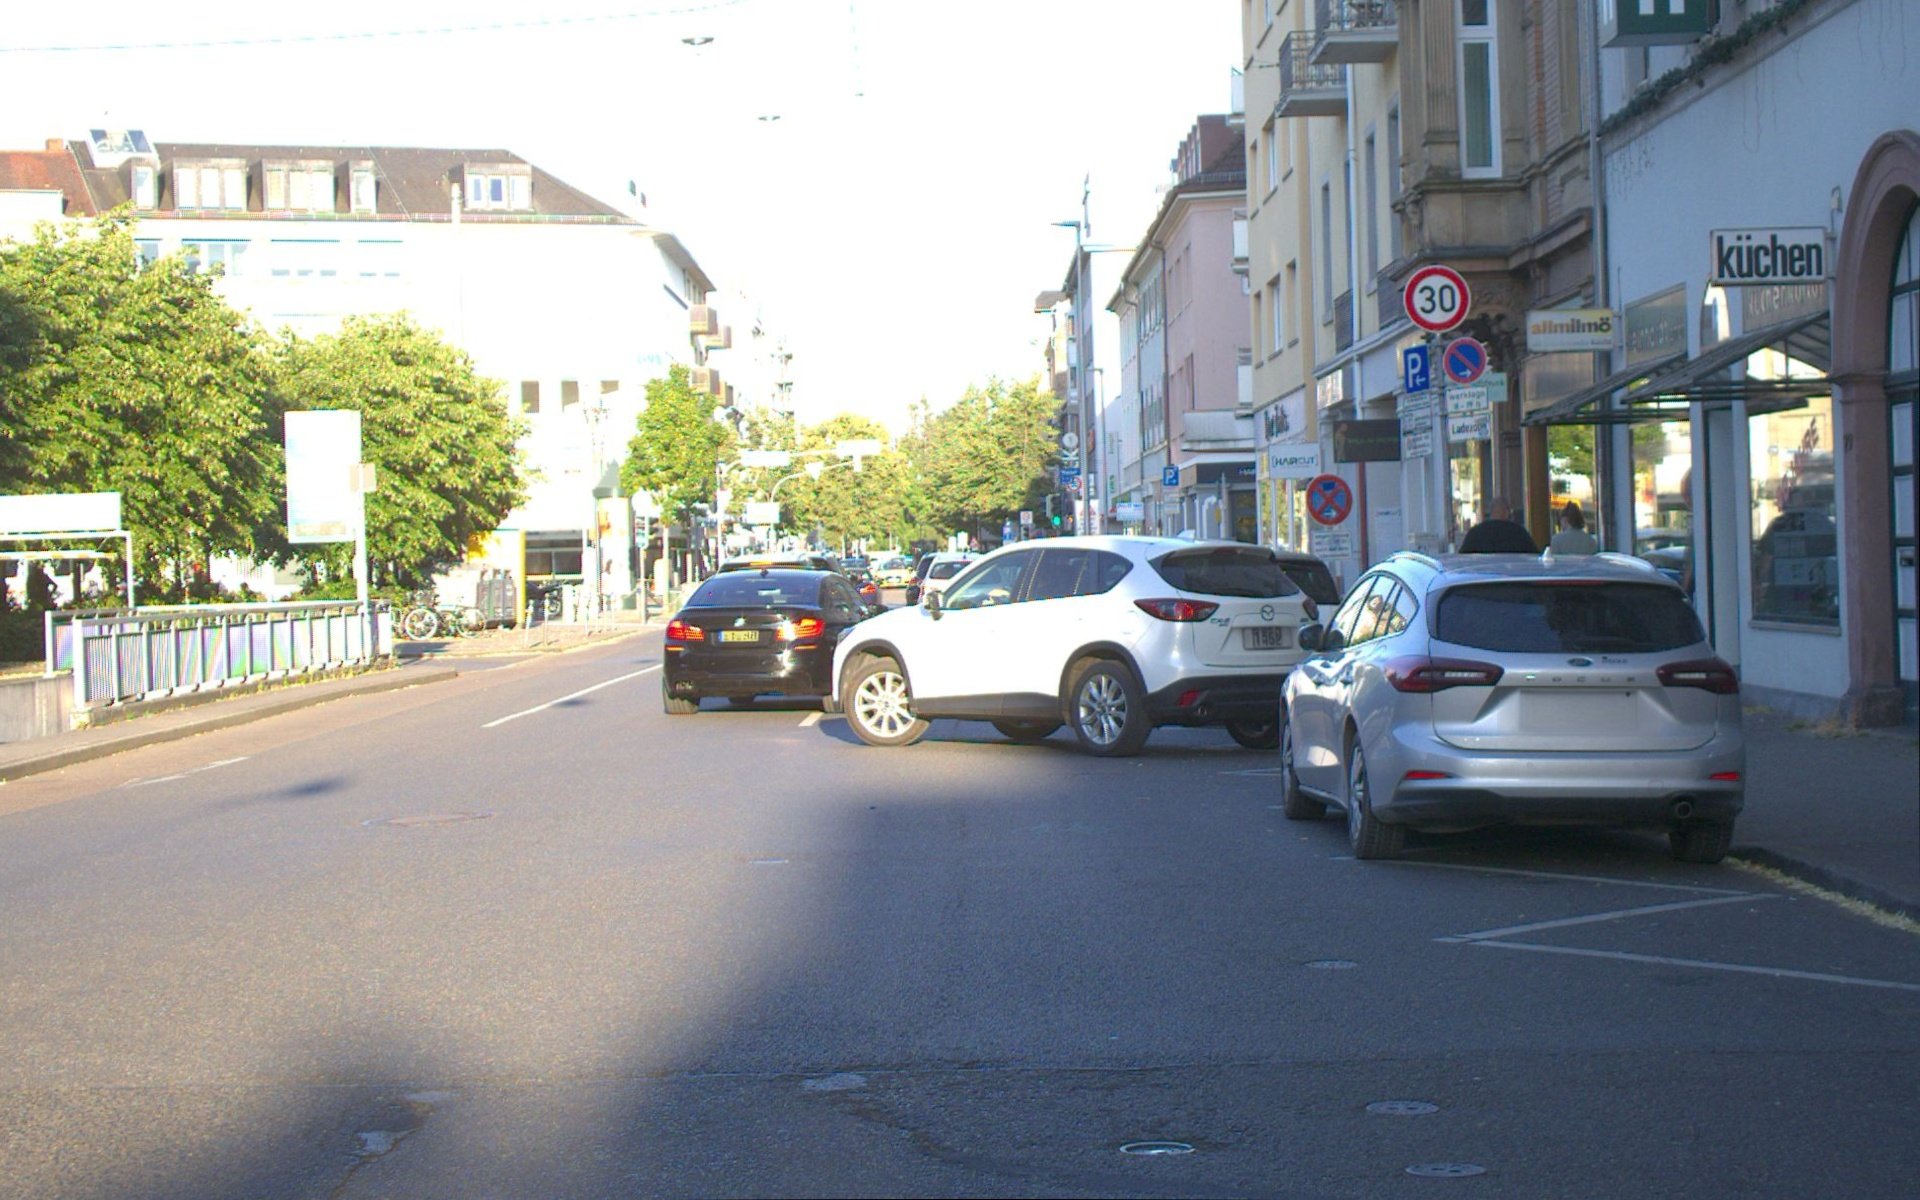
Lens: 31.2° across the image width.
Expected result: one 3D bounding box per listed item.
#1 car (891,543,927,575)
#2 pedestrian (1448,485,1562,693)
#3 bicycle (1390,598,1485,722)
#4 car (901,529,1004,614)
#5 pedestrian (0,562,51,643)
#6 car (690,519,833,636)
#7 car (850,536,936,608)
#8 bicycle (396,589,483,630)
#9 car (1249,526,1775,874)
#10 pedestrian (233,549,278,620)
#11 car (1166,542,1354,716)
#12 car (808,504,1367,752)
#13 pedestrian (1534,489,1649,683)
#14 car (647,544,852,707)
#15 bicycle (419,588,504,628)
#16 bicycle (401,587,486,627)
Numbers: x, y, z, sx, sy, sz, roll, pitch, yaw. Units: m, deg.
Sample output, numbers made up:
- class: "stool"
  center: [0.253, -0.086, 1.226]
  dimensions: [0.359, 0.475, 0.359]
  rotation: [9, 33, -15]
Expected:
- class: "car"
  center: [-2.560, -2.082, 173.781]
  dimensions: [1.779, 1.542, 4.000]
  rotation: [-1, 1, -1]
- class: "pedestrian"
  center: [4.946, -0.110, 31.237]
  dimensions: [0.772, 1.821, 1.011]
  rotation: [-3, 1, 0]
- class: "bicycle"
  center: [4.197, 0.508, 30.306]
  dimensions: [0.504, 1.012, 1.947]
  rotation: [-2, 1, -1]
- class: "car"
  center: [-0.160, -0.559, 65.785]
  dimensions: [1.896, 1.575, 4.000]
  rotation: [0, 1, -1]
- class: "pedestrian"
  center: [-18.625, 0.053, 68.526]
  dimensions: [0.791, 1.589, 0.567]
  rotation: [0, 1, 20]
- class: "car"
  center: [-2.917, -0.356, 51.246]
  dimensions: [1.896, 1.644, 4.104]
  rotation: [-1, 1, -1]
- class: "car"
  center: [-1.514, -0.668, 79.102]
  dimensions: [1.896, 1.575, 3.852]
  rotation: [1, 1, -1]
- class: "bicycle"
  center: [-11.273, 0.204, 74.480]
  dimensions: [1.825, 0.850, 0.484]
  rotation: [1, 1, -3]
- class: "car"
  center: [2.654, 0.429, 17.661]
  dimensions: [1.759, 1.531, 4.822]
  rotation: [0, 0, -2]
- class: "pedestrian"
  center: [-15.964, -0.355, 77.917]
  dimensions: [0.791, 1.589, 0.567]
  rotation: [0, 1, 20]
- class: "car"
  center: [2.749, 0.246, 32.033]
  dimensions: [1.532, 1.531, 3.283]
  rotation: [0, 0, 1]
- class: "car"
  center: [0.913, 0.196, 27.193]
  dimensions: [1.994, 1.755, 4.464]
  rotation: [-2, 1, -37]
- class: "pedestrian"
  center: [5.754, -0.136, 31.373]
  dimensions: [0.772, 1.705, 1.042]
  rotation: [-3, 1, 0]
- class: "car"
  center: [-2.102, 0.217, 35.273]
  dimensions: [1.896, 1.575, 4.000]
  rotation: [0, 1, -1]
- class: "bicycle"
  center: [-11.053, 0.178, 76.281]
  dimensions: [1.825, 0.850, 0.484]
  rotation: [1, 1, -3]
- class: "bicycle"
  center: [-11.598, 0.153, 77.196]
  dimensions: [1.825, 0.850, 0.484]
  rotation: [1, 1, -3]
